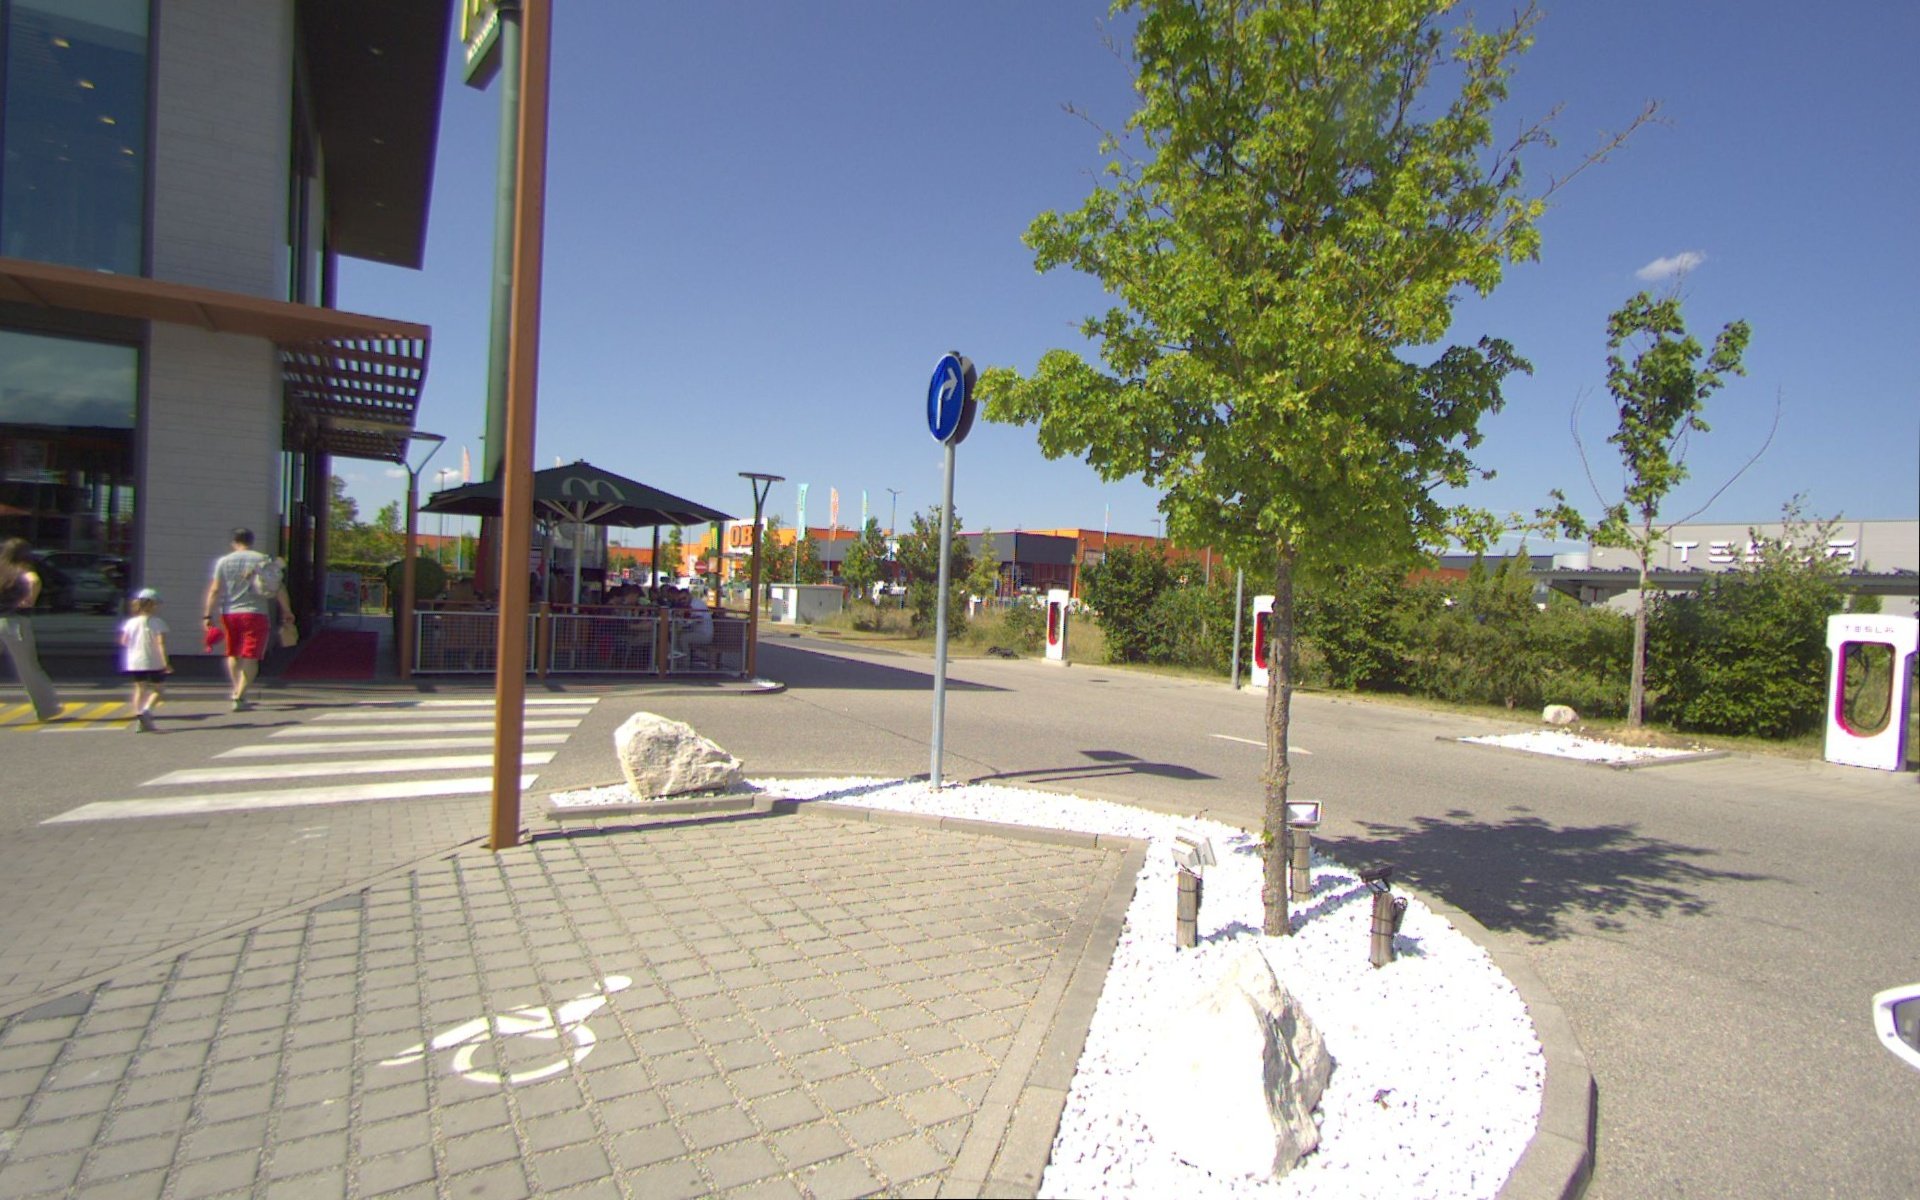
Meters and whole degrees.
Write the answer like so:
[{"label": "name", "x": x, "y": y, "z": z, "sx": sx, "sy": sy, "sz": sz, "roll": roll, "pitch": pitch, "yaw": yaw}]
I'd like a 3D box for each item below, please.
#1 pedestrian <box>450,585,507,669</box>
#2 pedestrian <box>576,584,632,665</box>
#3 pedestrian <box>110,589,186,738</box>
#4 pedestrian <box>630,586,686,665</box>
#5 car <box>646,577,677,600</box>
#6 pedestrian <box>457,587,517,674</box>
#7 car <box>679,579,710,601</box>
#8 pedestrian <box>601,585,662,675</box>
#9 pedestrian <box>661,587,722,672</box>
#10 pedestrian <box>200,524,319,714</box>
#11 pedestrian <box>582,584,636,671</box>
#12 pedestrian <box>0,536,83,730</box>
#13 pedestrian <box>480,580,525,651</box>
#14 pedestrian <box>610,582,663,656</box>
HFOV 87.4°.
[{"label": "pedestrian", "x": -6.820, "y": 0.378, "z": 14.220, "sx": 0.628, "sy": 1.139, "sz": 0.519, "roll": 2, "pitch": 1, "yaw": -35}, {"label": "pedestrian", "x": -5.809, "y": 0.401, "z": 16.387, "sx": 0.708, "sy": 1.275, "sz": 0.519, "roll": 2, "pitch": 1, "yaw": -35}, {"label": "pedestrian", "x": -6.822, "y": 0.519, "z": 8.454, "sx": 0.444, "sy": 1.202, "sz": 0.486, "roll": 2, "pitch": 1, "yaw": -36}, {"label": "pedestrian", "x": -5.052, "y": 0.425, "z": 16.780, "sx": 0.722, "sy": 1.275, "sz": 0.567, "roll": 2, "pitch": 1, "yaw": -35}, {"label": "car", "x": -28.905, "y": -1.126, "z": 97.132, "sx": 1.977, "sy": 2.040, "sz": 3.967, "roll": 3, "pitch": 0, "yaw": -30}, {"label": "pedestrian", "x": -6.396, "y": 0.409, "z": 13.579, "sx": 0.628, "sy": 1.139, "sz": 0.519, "roll": 2, "pitch": 1, "yaw": -35}, {"label": "car", "x": -26.254, "y": -0.971, "z": 99.201, "sx": 1.977, "sy": 2.040, "sz": 3.967, "roll": 3, "pitch": 0, "yaw": -30}, {"label": "pedestrian", "x": -4.835, "y": 0.437, "z": 14.788, "sx": 0.708, "sy": 1.275, "sz": 0.519, "roll": 2, "pitch": 1, "yaw": -35}, {"label": "pedestrian", "x": -4.174, "y": 0.457, "z": 15.611, "sx": 0.722, "sy": 1.275, "sz": 0.567, "roll": 2, "pitch": 1, "yaw": -35}, {"label": "pedestrian", "x": -6.999, "y": 0.181, "z": 10.032, "sx": 0.889, "sy": 1.792, "sz": 0.794, "roll": 2, "pitch": 1, "yaw": -39}, {"label": "pedestrian", "x": -5.313, "y": 0.415, "z": 15.189, "sx": 0.628, "sy": 1.275, "sz": 0.519, "roll": 2, "pitch": 1, "yaw": -35}, {"label": "pedestrian", "x": -8.136, "y": 0.264, "z": 8.577, "sx": 0.730, "sy": 1.605, "sz": 0.725, "roll": 2, "pitch": 1, "yaw": -21}, {"label": "pedestrian", "x": -7.470, "y": 0.253, "z": 16.409, "sx": 0.567, "sy": 1.115, "sz": 0.651, "roll": 2, "pitch": 1, "yaw": -32}, {"label": "pedestrian", "x": -5.695, "y": 0.335, "z": 17.697, "sx": 0.722, "sy": 1.275, "sz": 0.567, "roll": 2, "pitch": 1, "yaw": -35}]
